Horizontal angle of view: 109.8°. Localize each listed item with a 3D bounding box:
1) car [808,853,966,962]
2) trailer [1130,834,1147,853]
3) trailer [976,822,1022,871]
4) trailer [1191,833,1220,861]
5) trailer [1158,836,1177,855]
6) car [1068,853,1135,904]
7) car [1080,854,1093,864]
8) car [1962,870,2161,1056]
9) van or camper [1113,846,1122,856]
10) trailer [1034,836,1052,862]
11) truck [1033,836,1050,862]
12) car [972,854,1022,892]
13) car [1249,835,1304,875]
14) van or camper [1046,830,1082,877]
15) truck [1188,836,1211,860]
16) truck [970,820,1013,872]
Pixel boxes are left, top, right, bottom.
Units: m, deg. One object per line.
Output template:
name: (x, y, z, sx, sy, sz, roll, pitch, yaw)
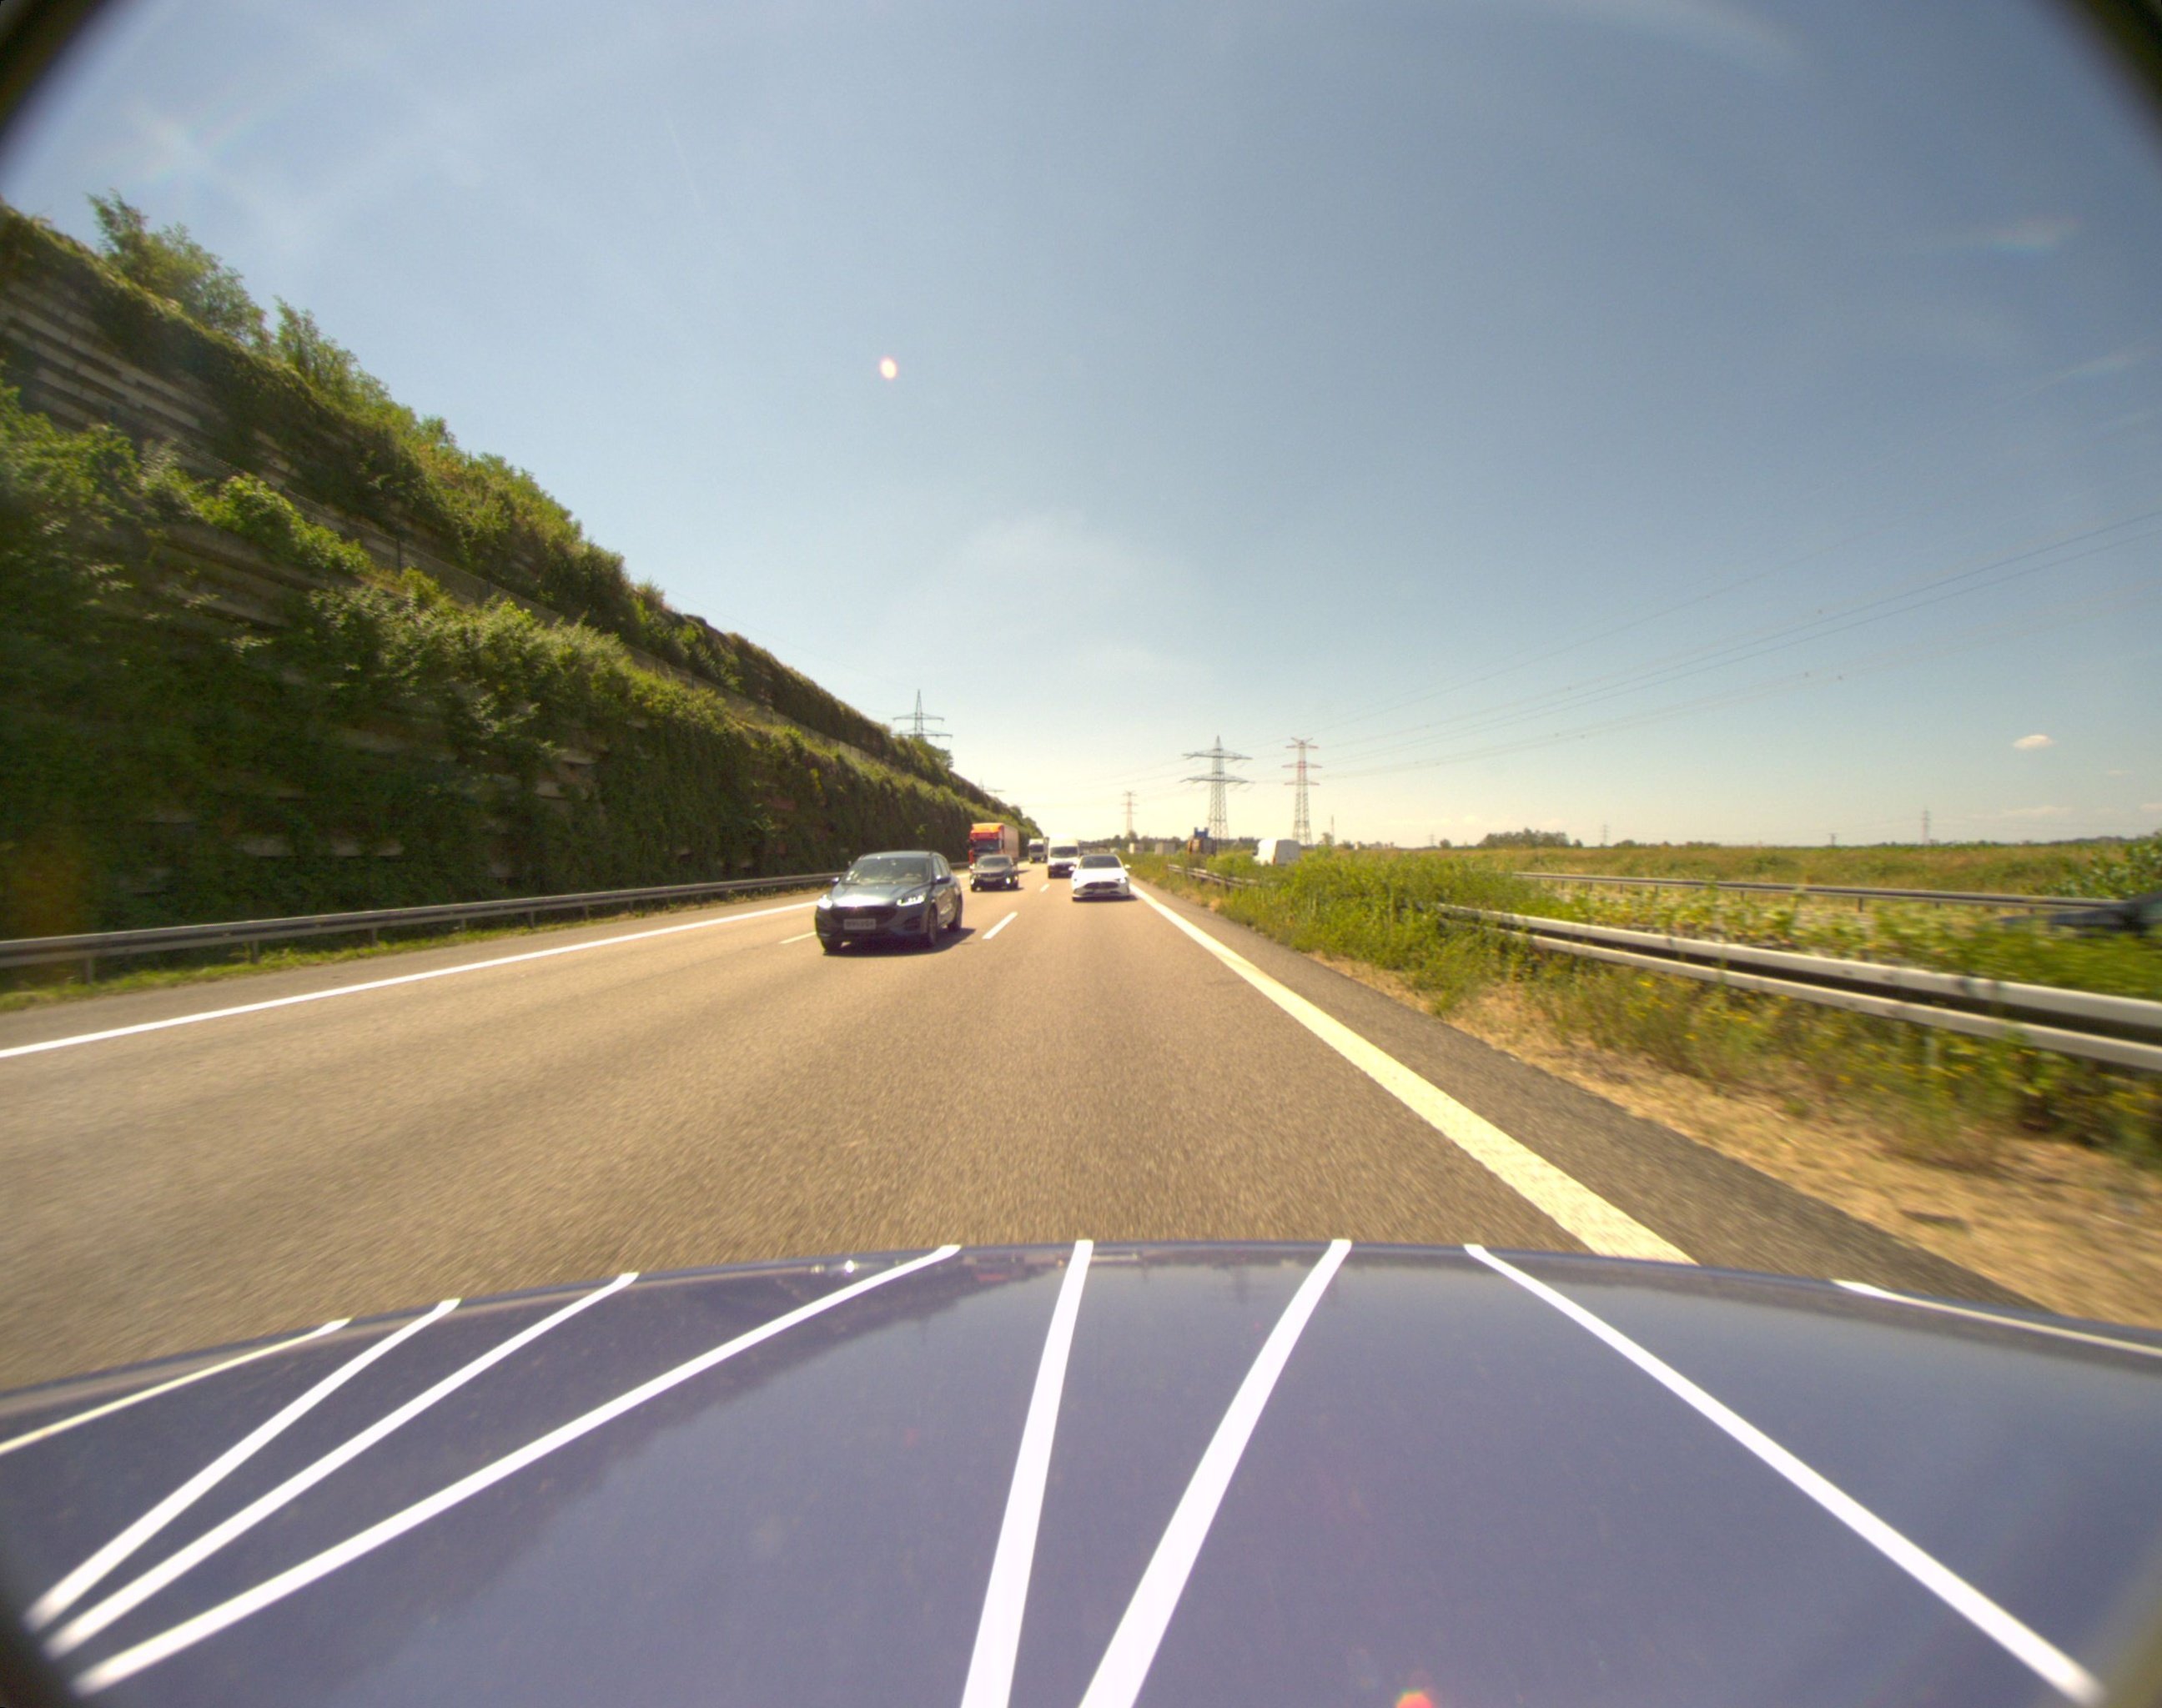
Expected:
car: (-3.350, 0.836, 13.967, 1.799, 1.643, 4.137, -1, 0, 0)
trailer: (14.176, -2.622, 189.013, 2.776, 4.324, 14.237, -3, 0, 0)
trailer: (-7.256, -0.638, 69.297, 2.652, 3.981, 13.604, -1, 0, 0)
trailer: (18.625, -1.029, 114.205, 2.743, 4.022, 9.423, 0, 1, 0)
trailer: (18.419, -1.802, 162.840, 2.776, 3.807, 14.240, -1, 0, 2)
car: (0.617, 0.738, 25.154, 1.999, 1.474, 4.107, -1, 0, -1)
car: (0.790, 0.679, 115.579, 1.784, 1.475, 3.999, 0, 0, -2)
car: (9.704, 0.921, 5.663, 1.670, 1.487, 4.000, 0, 0, 1)
van or camper: (10.028, -0.723, 209.322, 1.999, 2.567, 6.284, 4, 0, -1)
trailer: (-6.678, -0.865, 135.085, 2.521, 4.187, 17.024, -1, 0, -1)
truck: (-6.578, -0.816, 126.720, 2.514, 4.196, 6.255, -1, 1, 0)
car: (-3.642, 0.785, 33.653, 1.754, 1.516, 3.994, -1, 1, 0)
car: (14.104, 0.036, 55.367, 2.110, 2.616, 7.466, 1, 0, 1)
van or camper: (-1.040, -0.048, 49.156, 2.102, 2.753, 6.756, -1, 0, -1)
truck: (18.561, -0.989, 119.648, 2.732, 3.706, 5.645, 0, 1, 0)
truck: (-7.244, -0.661, 62.184, 2.624, 3.969, 6.525, -1, 0, 0)
